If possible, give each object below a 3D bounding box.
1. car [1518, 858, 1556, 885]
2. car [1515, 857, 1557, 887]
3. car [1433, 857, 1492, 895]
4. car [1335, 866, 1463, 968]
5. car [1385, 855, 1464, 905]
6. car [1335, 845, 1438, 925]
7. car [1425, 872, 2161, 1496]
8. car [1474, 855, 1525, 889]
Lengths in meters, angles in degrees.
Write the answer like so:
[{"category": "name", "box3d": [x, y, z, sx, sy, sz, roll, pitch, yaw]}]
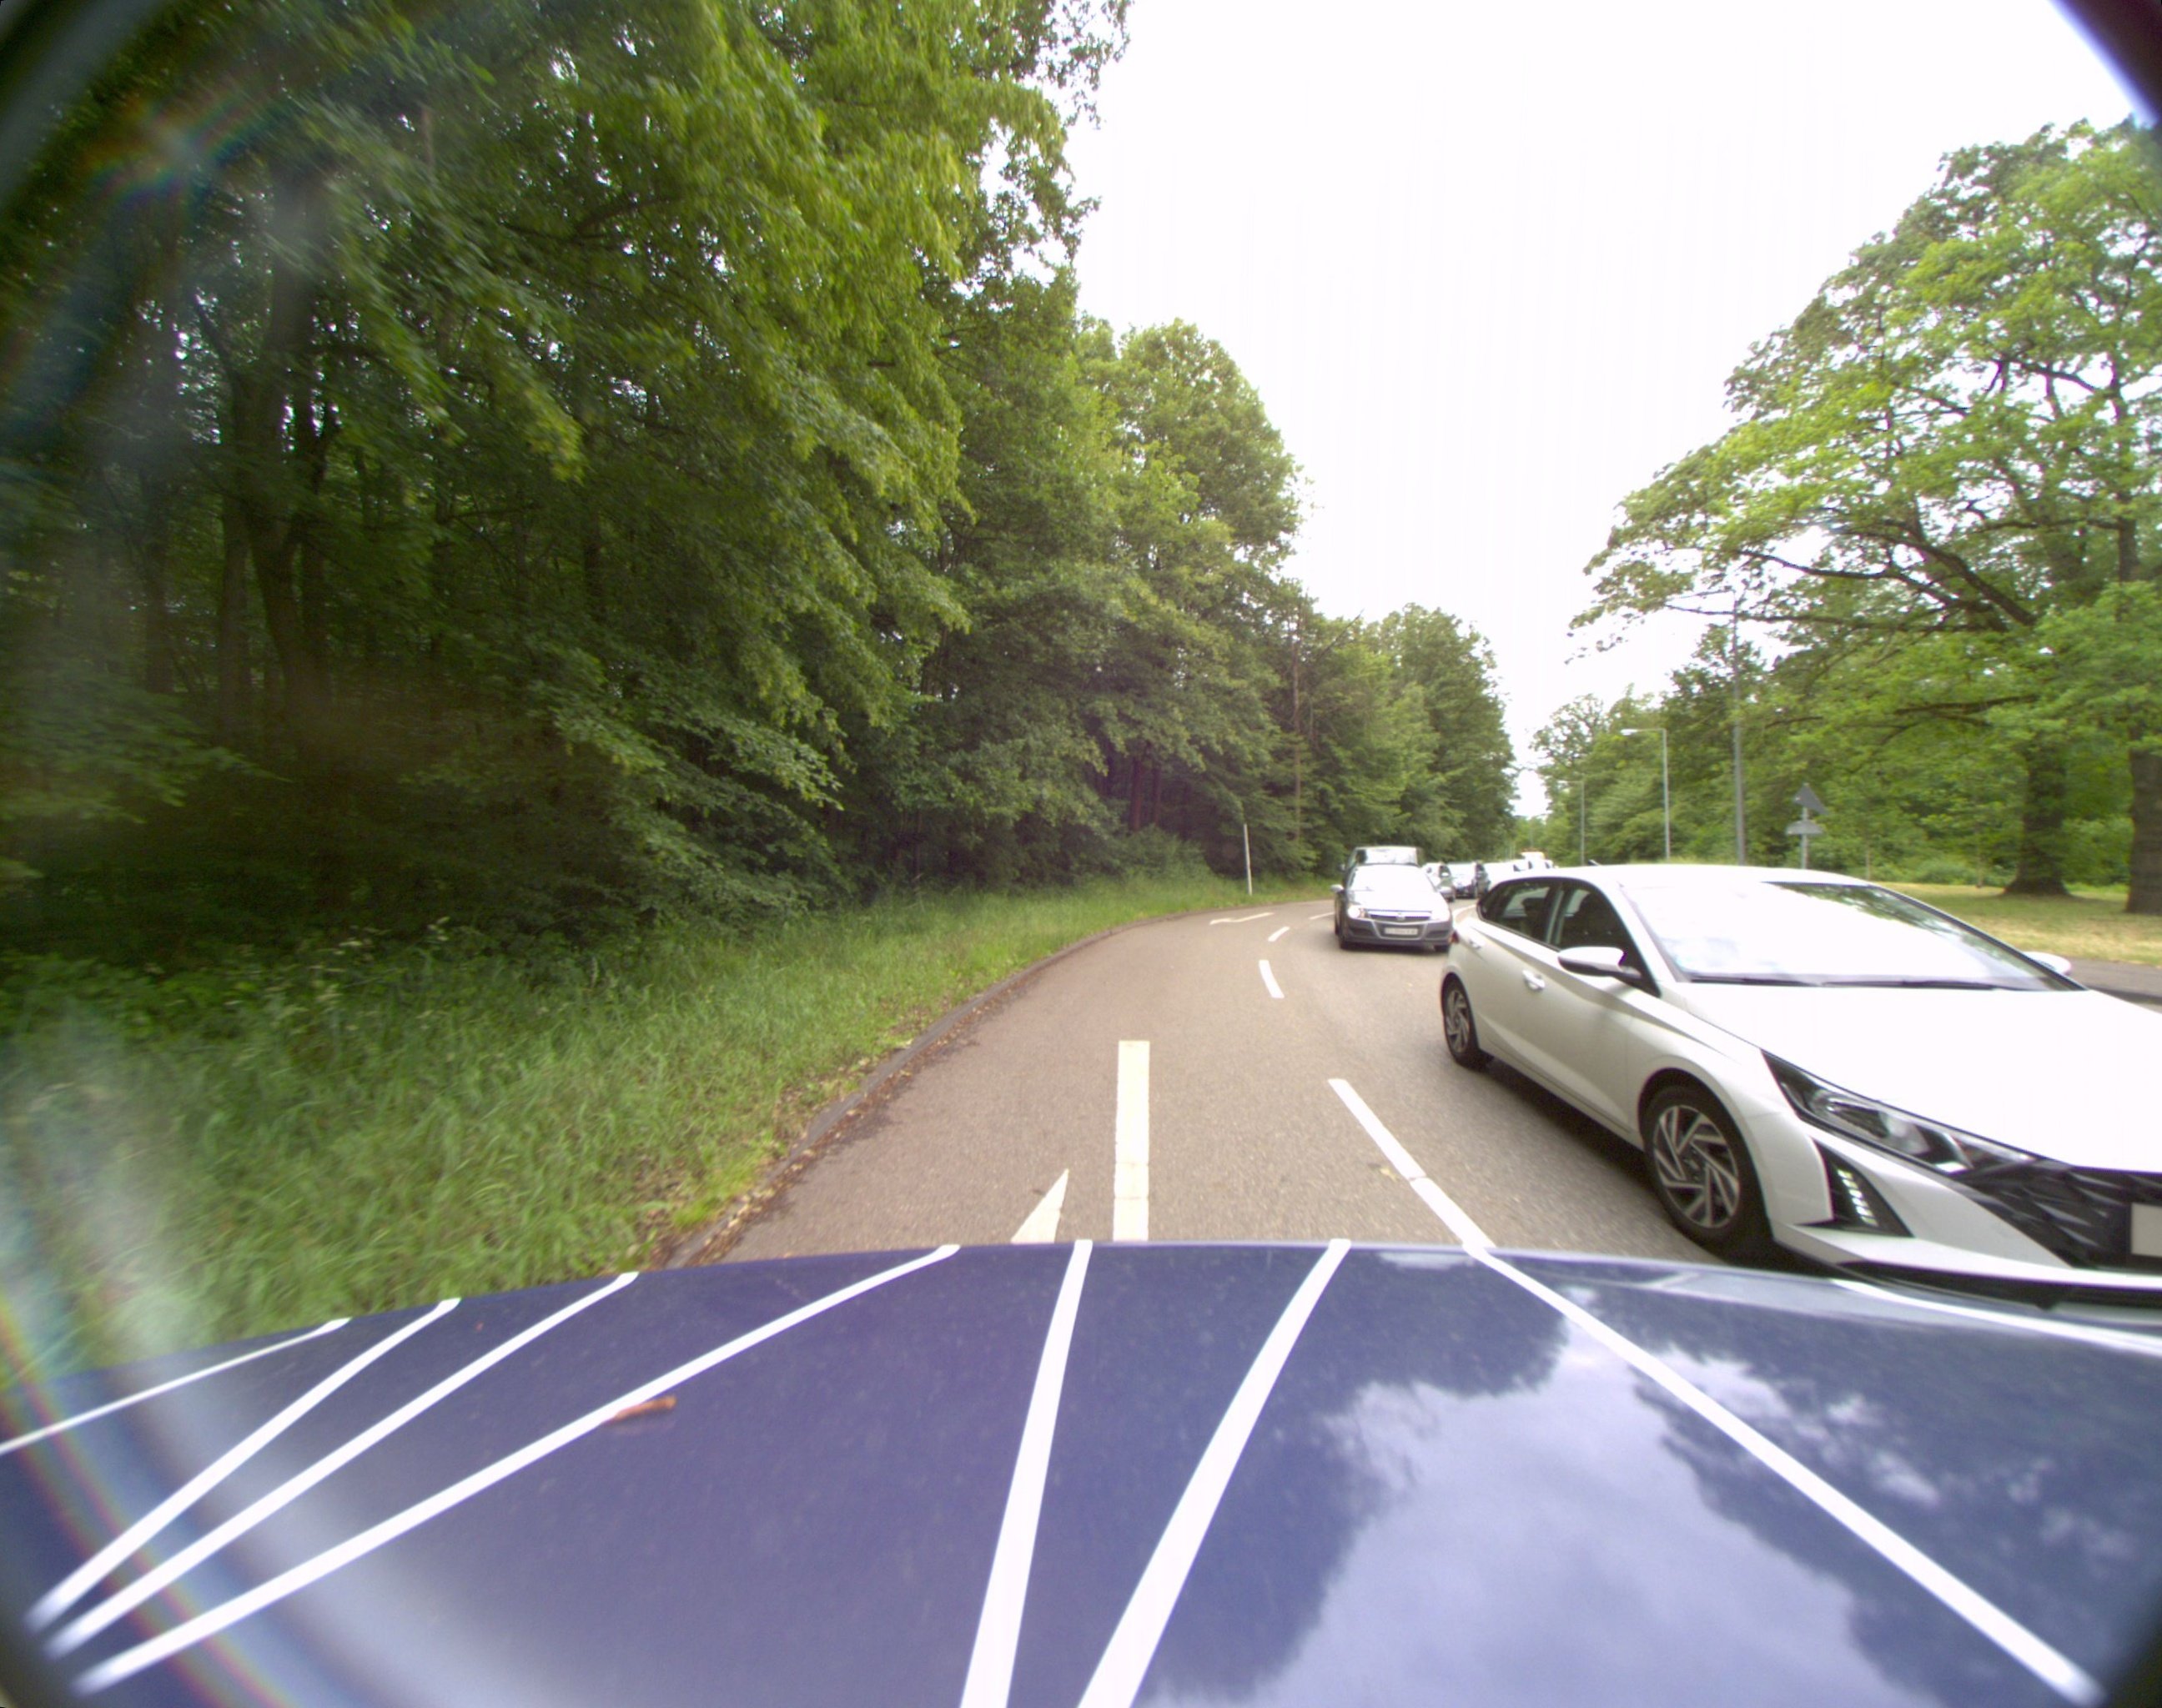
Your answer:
[{"category": "car", "box3d": [27.043, 1.005, 44.986, 1.774, 1.491, 3.881, 0, 0, 33]}, {"category": "car", "box3d": [24.011, 0.936, 40.033, 1.774, 1.491, 3.881, 0, 0, 33]}, {"category": "car", "box3d": [15.915, 0.874, 31.569, 1.774, 1.491, 3.881, 0, 0, 33]}, {"category": "car", "box3d": [5.535, 0.976, 13.702, 1.800, 1.470, 4.477, 0, 0, 19]}, {"category": "car", "box3d": [12.466, 0.887, 27.466, 1.789, 1.664, 3.999, -1, -1, 36]}, {"category": "car", "box3d": [8.204, 0.743, 20.156, 1.986, 1.861, 4.541, 0, 0, 29]}, {"category": "car", "box3d": [3.262, 0.868, 3.856, 1.653, 1.470, 4.076, 0, 0, 7]}, {"category": "car", "box3d": [19.505, 0.815, 35.350, 1.774, 1.491, 3.881, 0, 0, 33]}]
